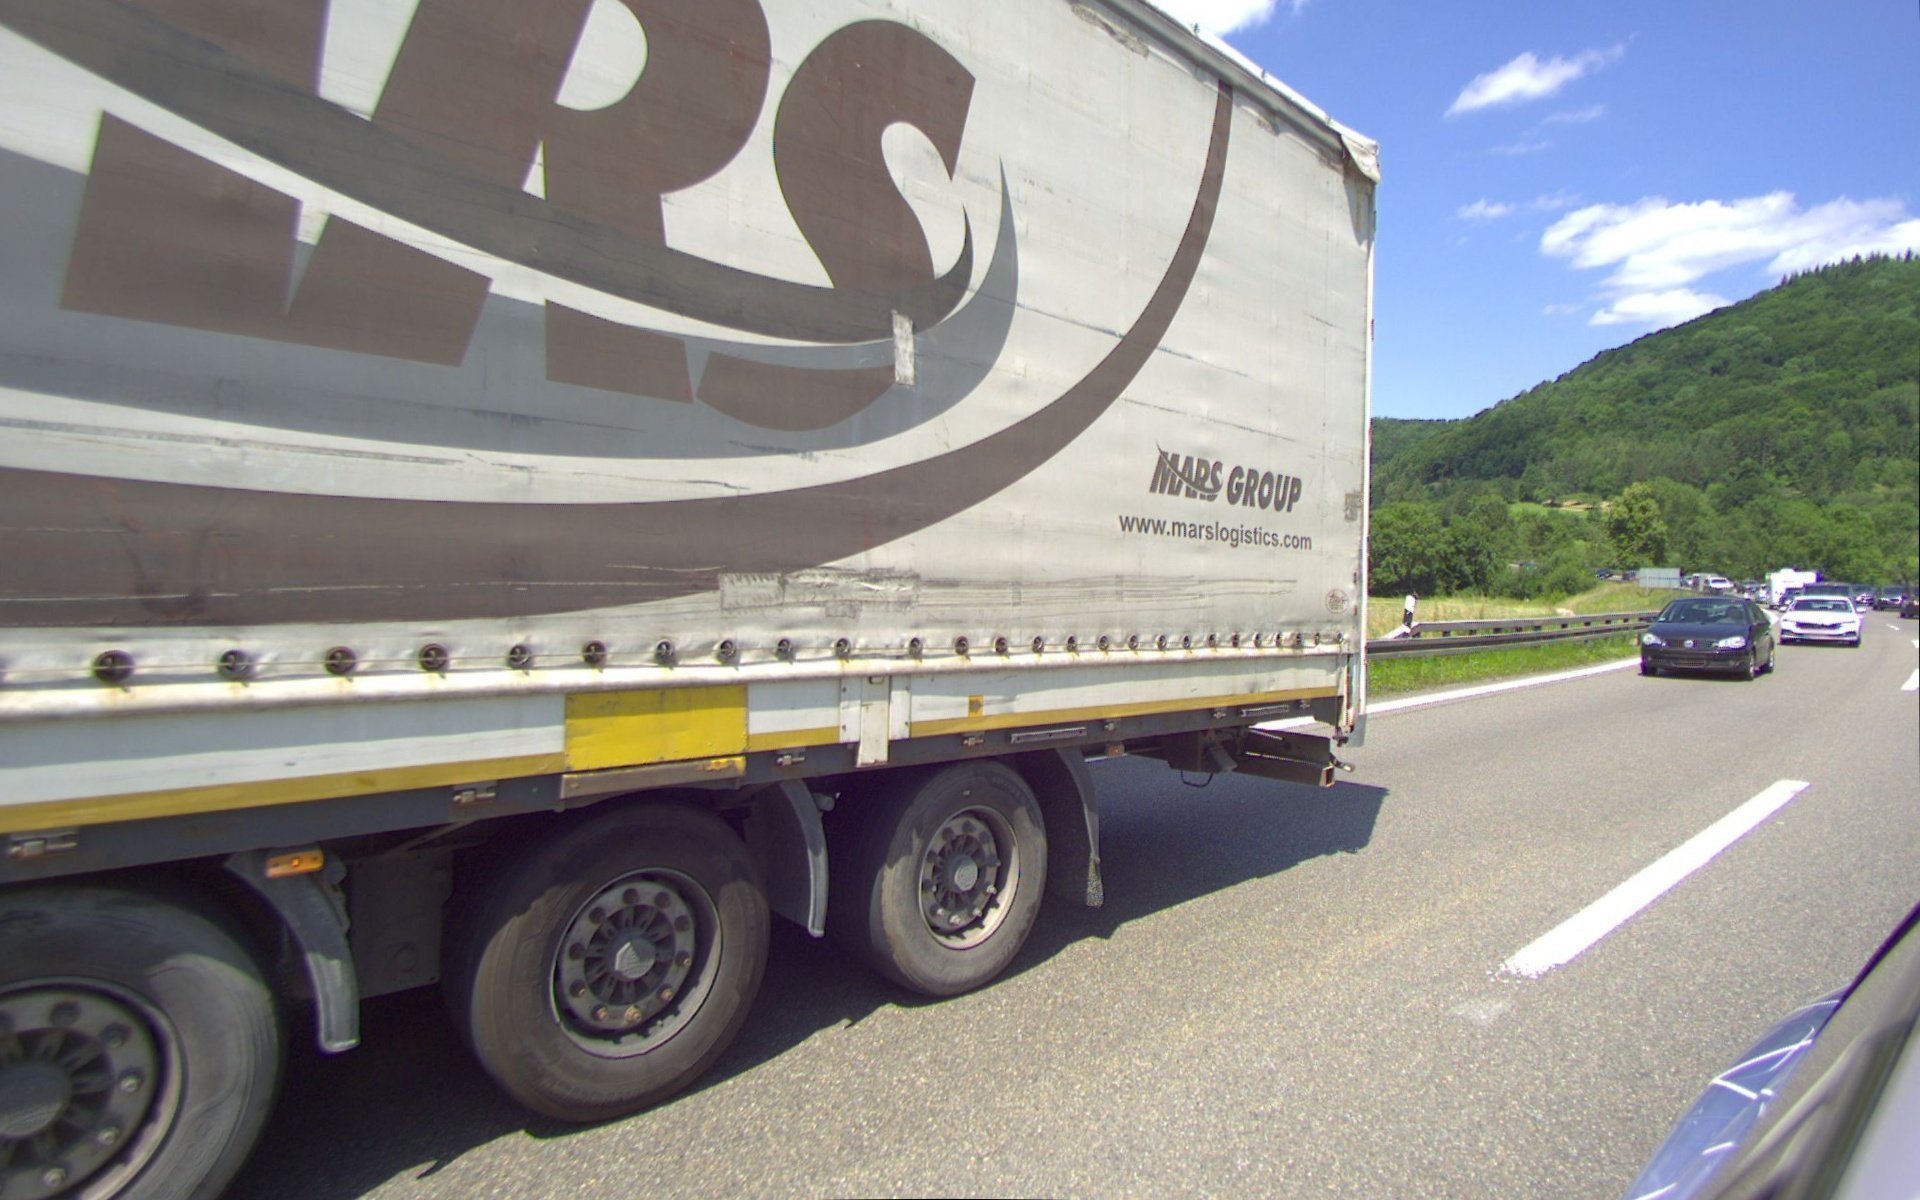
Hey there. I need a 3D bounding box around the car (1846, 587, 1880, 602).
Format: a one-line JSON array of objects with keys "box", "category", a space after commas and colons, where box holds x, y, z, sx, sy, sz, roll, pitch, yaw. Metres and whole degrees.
[{"box": [66.883, -0.406, 74.977, 1.482, 1.123, 3.174, 0, 1, 35], "category": "car"}]

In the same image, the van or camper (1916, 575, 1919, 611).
[{"box": [51.463, -0.342, 52.982, 1.810, 1.890, 3.562, 0, 1, 39], "category": "van or camper"}]

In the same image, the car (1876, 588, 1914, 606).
[{"box": [59.604, -0.206, 64.557, 1.484, 1.123, 3.170, 0, 1, 38], "category": "car"}]

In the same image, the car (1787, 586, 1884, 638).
[{"box": [25.800, 0.336, 29.790, 3.661, 1.448, 1.903, 0, -1, -45], "category": "car"}]

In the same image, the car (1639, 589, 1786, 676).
[{"box": [13.970, 0.522, 18.708, 1.692, 1.440, 3.777, 0, 1, 45], "category": "car"}]

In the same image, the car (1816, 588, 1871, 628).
[{"box": [33.839, 0.278, 38.780, 1.484, 1.400, 3.683, 4, 3, 41], "category": "car"}]

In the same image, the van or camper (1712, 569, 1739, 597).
[{"box": [86.396, -1.884, 114.238, 1.896, 3.065, 4.820, 1, 1, 31], "category": "van or camper"}]

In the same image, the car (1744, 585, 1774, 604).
[{"box": [67.144, -0.467, 85.104, 1.688, 1.552, 3.635, -2, -1, 34], "category": "car"}]

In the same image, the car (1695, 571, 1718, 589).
[{"box": [90.499, -2.406, 122.651, 1.985, 2.039, 3.953, 0, 1, 33], "category": "car"}]

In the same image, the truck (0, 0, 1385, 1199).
[{"box": [-3.561, -0.704, 2.029, 13.508, 4.118, 2.730, -1, 1, -42], "category": "truck"}]

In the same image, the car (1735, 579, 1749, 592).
[{"box": [100.201, -1.846, 129.652, 1.238, 1.497, 2.924, -2, -1, 34], "category": "car"}]

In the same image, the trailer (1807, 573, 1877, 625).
[{"box": [36.264, -0.044, 41.708, 1.991, 1.994, 3.942, 3, 2, 40], "category": "trailer"}]

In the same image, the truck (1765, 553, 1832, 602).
[{"box": [57.538, -1.509, 69.606, 2.585, 3.147, 6.778, -2, -1, 33], "category": "truck"}]
